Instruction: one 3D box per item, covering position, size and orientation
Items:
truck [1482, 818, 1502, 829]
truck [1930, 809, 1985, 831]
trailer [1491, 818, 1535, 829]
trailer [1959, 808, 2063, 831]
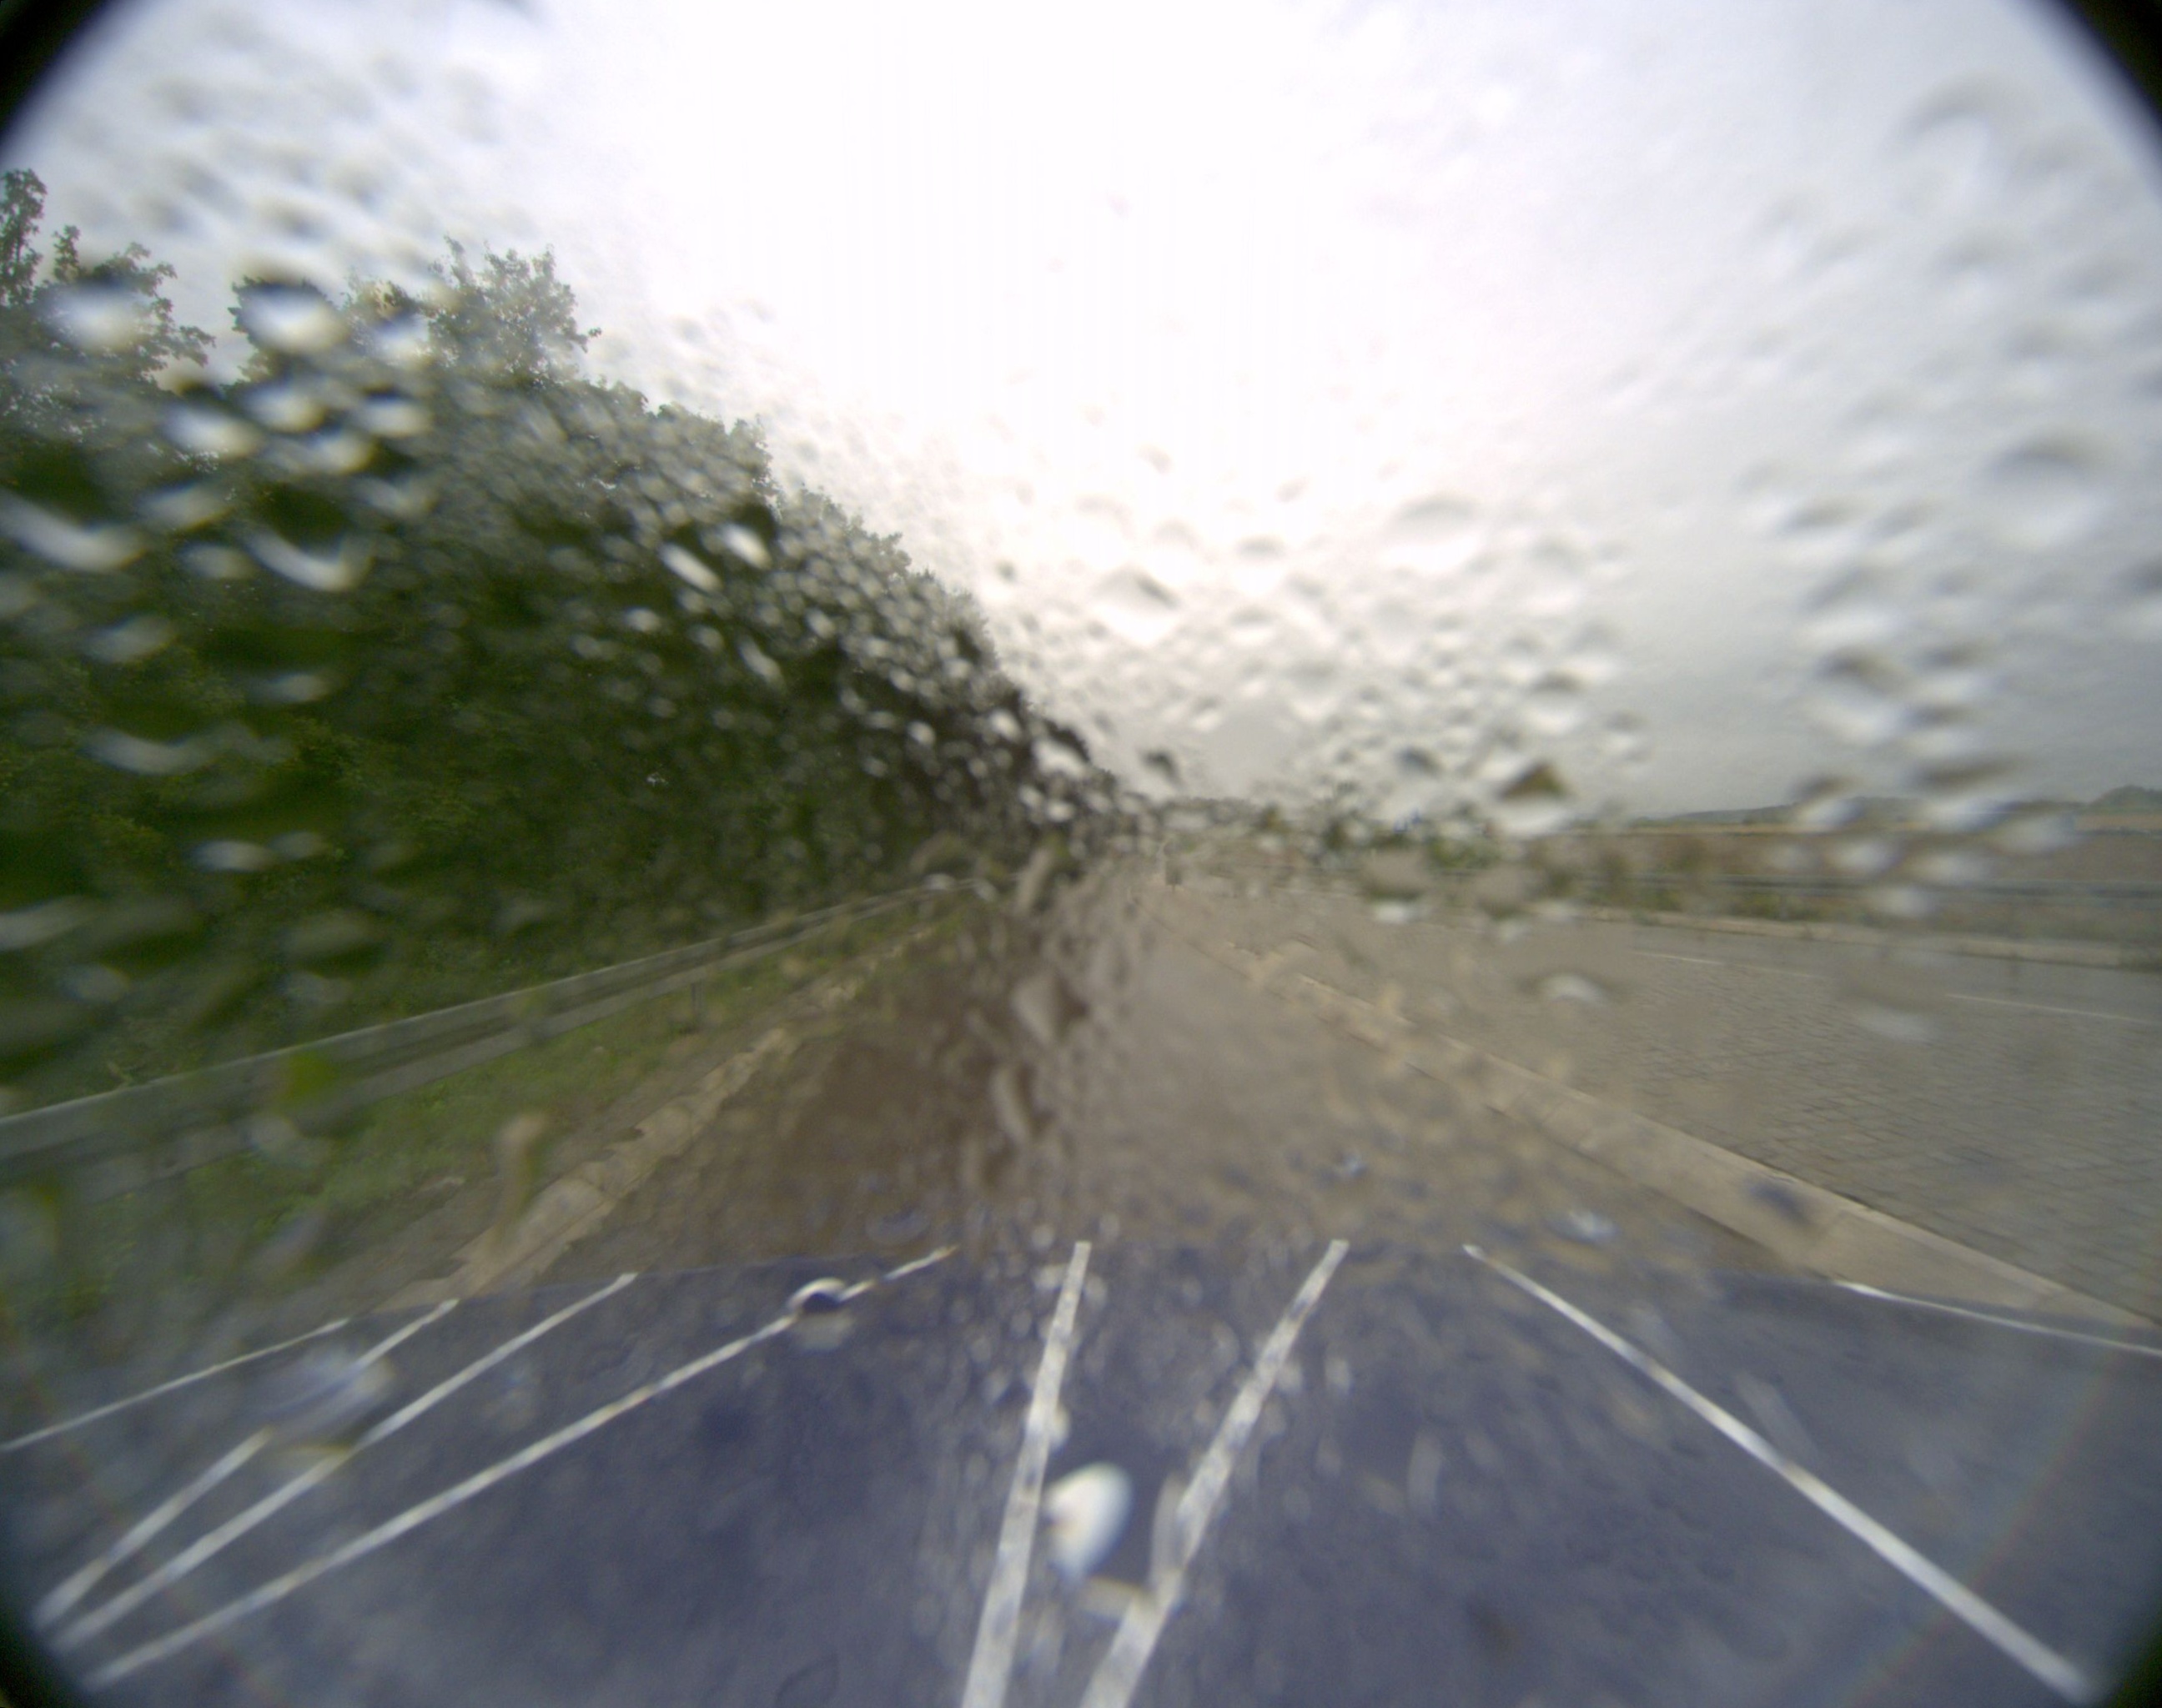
[{"bbox_3d":[118.489,-8.742,219.151,2.002,2.896,4.867,-6,5,-30],"label":"truck"},{"bbox_3d":[164.345,-6.365,142.469,2.953,3.894,6.260,-6,5,-30],"label":"truck"},{"bbox_3d":[121.485,-8.576,213.993,2.002,2.896,11.448,-6,4,-30],"label":"trailer"},{"bbox_3d":[167.494,-6.167,137.021,2.953,3.868,11.448,-6,4,-30],"label":"trailer"}]
